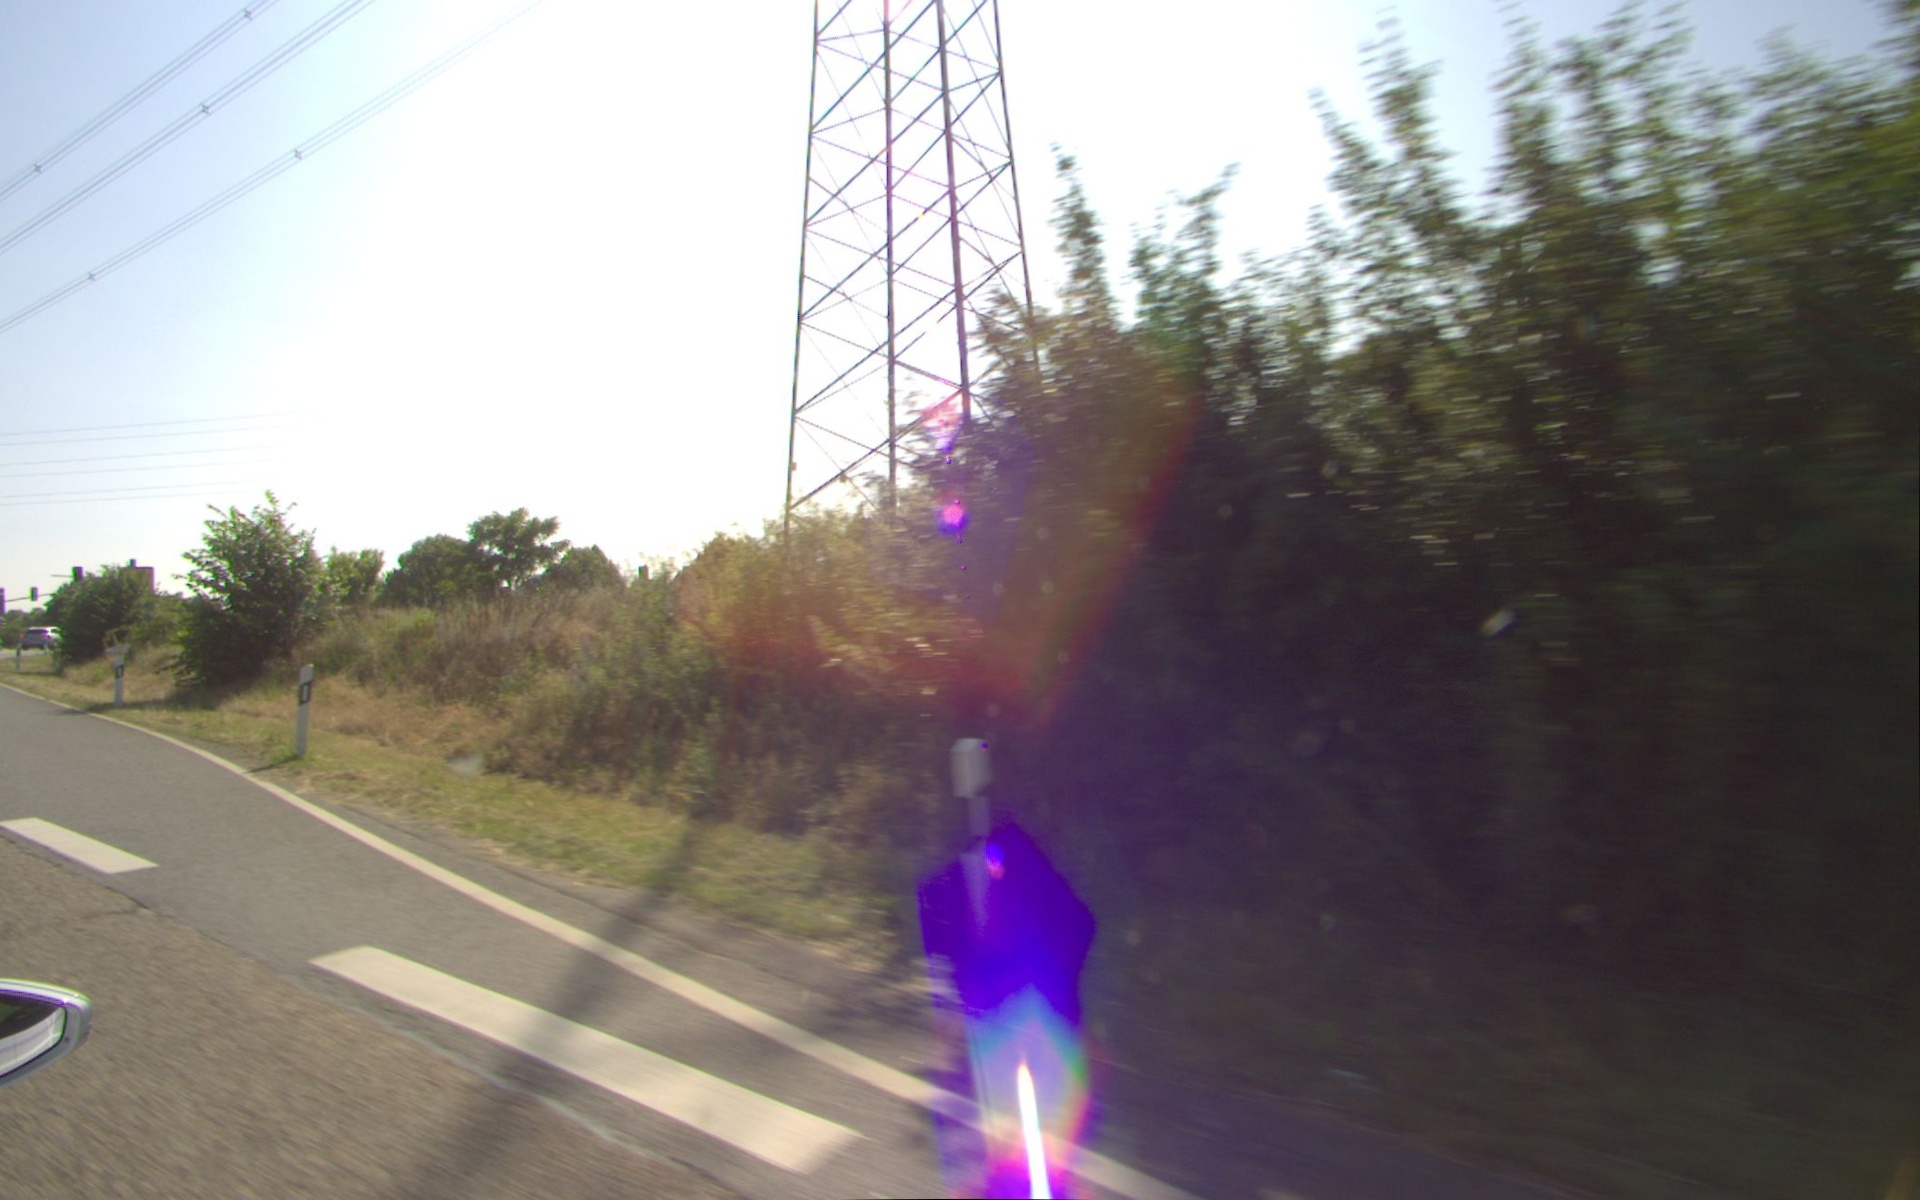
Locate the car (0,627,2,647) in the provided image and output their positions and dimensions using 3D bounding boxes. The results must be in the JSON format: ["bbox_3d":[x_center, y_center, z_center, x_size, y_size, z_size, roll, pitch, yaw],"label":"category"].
[{"bbox_3d":[-71.374,2.694,72.610,1.721,1.503,3.611,1,-2,-26],"label":"car"}]

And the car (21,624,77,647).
[{"bbox_3d":[-67.876,2.645,74.687,1.609,1.698,3.745,0,-2,-16],"label":"car"}]
